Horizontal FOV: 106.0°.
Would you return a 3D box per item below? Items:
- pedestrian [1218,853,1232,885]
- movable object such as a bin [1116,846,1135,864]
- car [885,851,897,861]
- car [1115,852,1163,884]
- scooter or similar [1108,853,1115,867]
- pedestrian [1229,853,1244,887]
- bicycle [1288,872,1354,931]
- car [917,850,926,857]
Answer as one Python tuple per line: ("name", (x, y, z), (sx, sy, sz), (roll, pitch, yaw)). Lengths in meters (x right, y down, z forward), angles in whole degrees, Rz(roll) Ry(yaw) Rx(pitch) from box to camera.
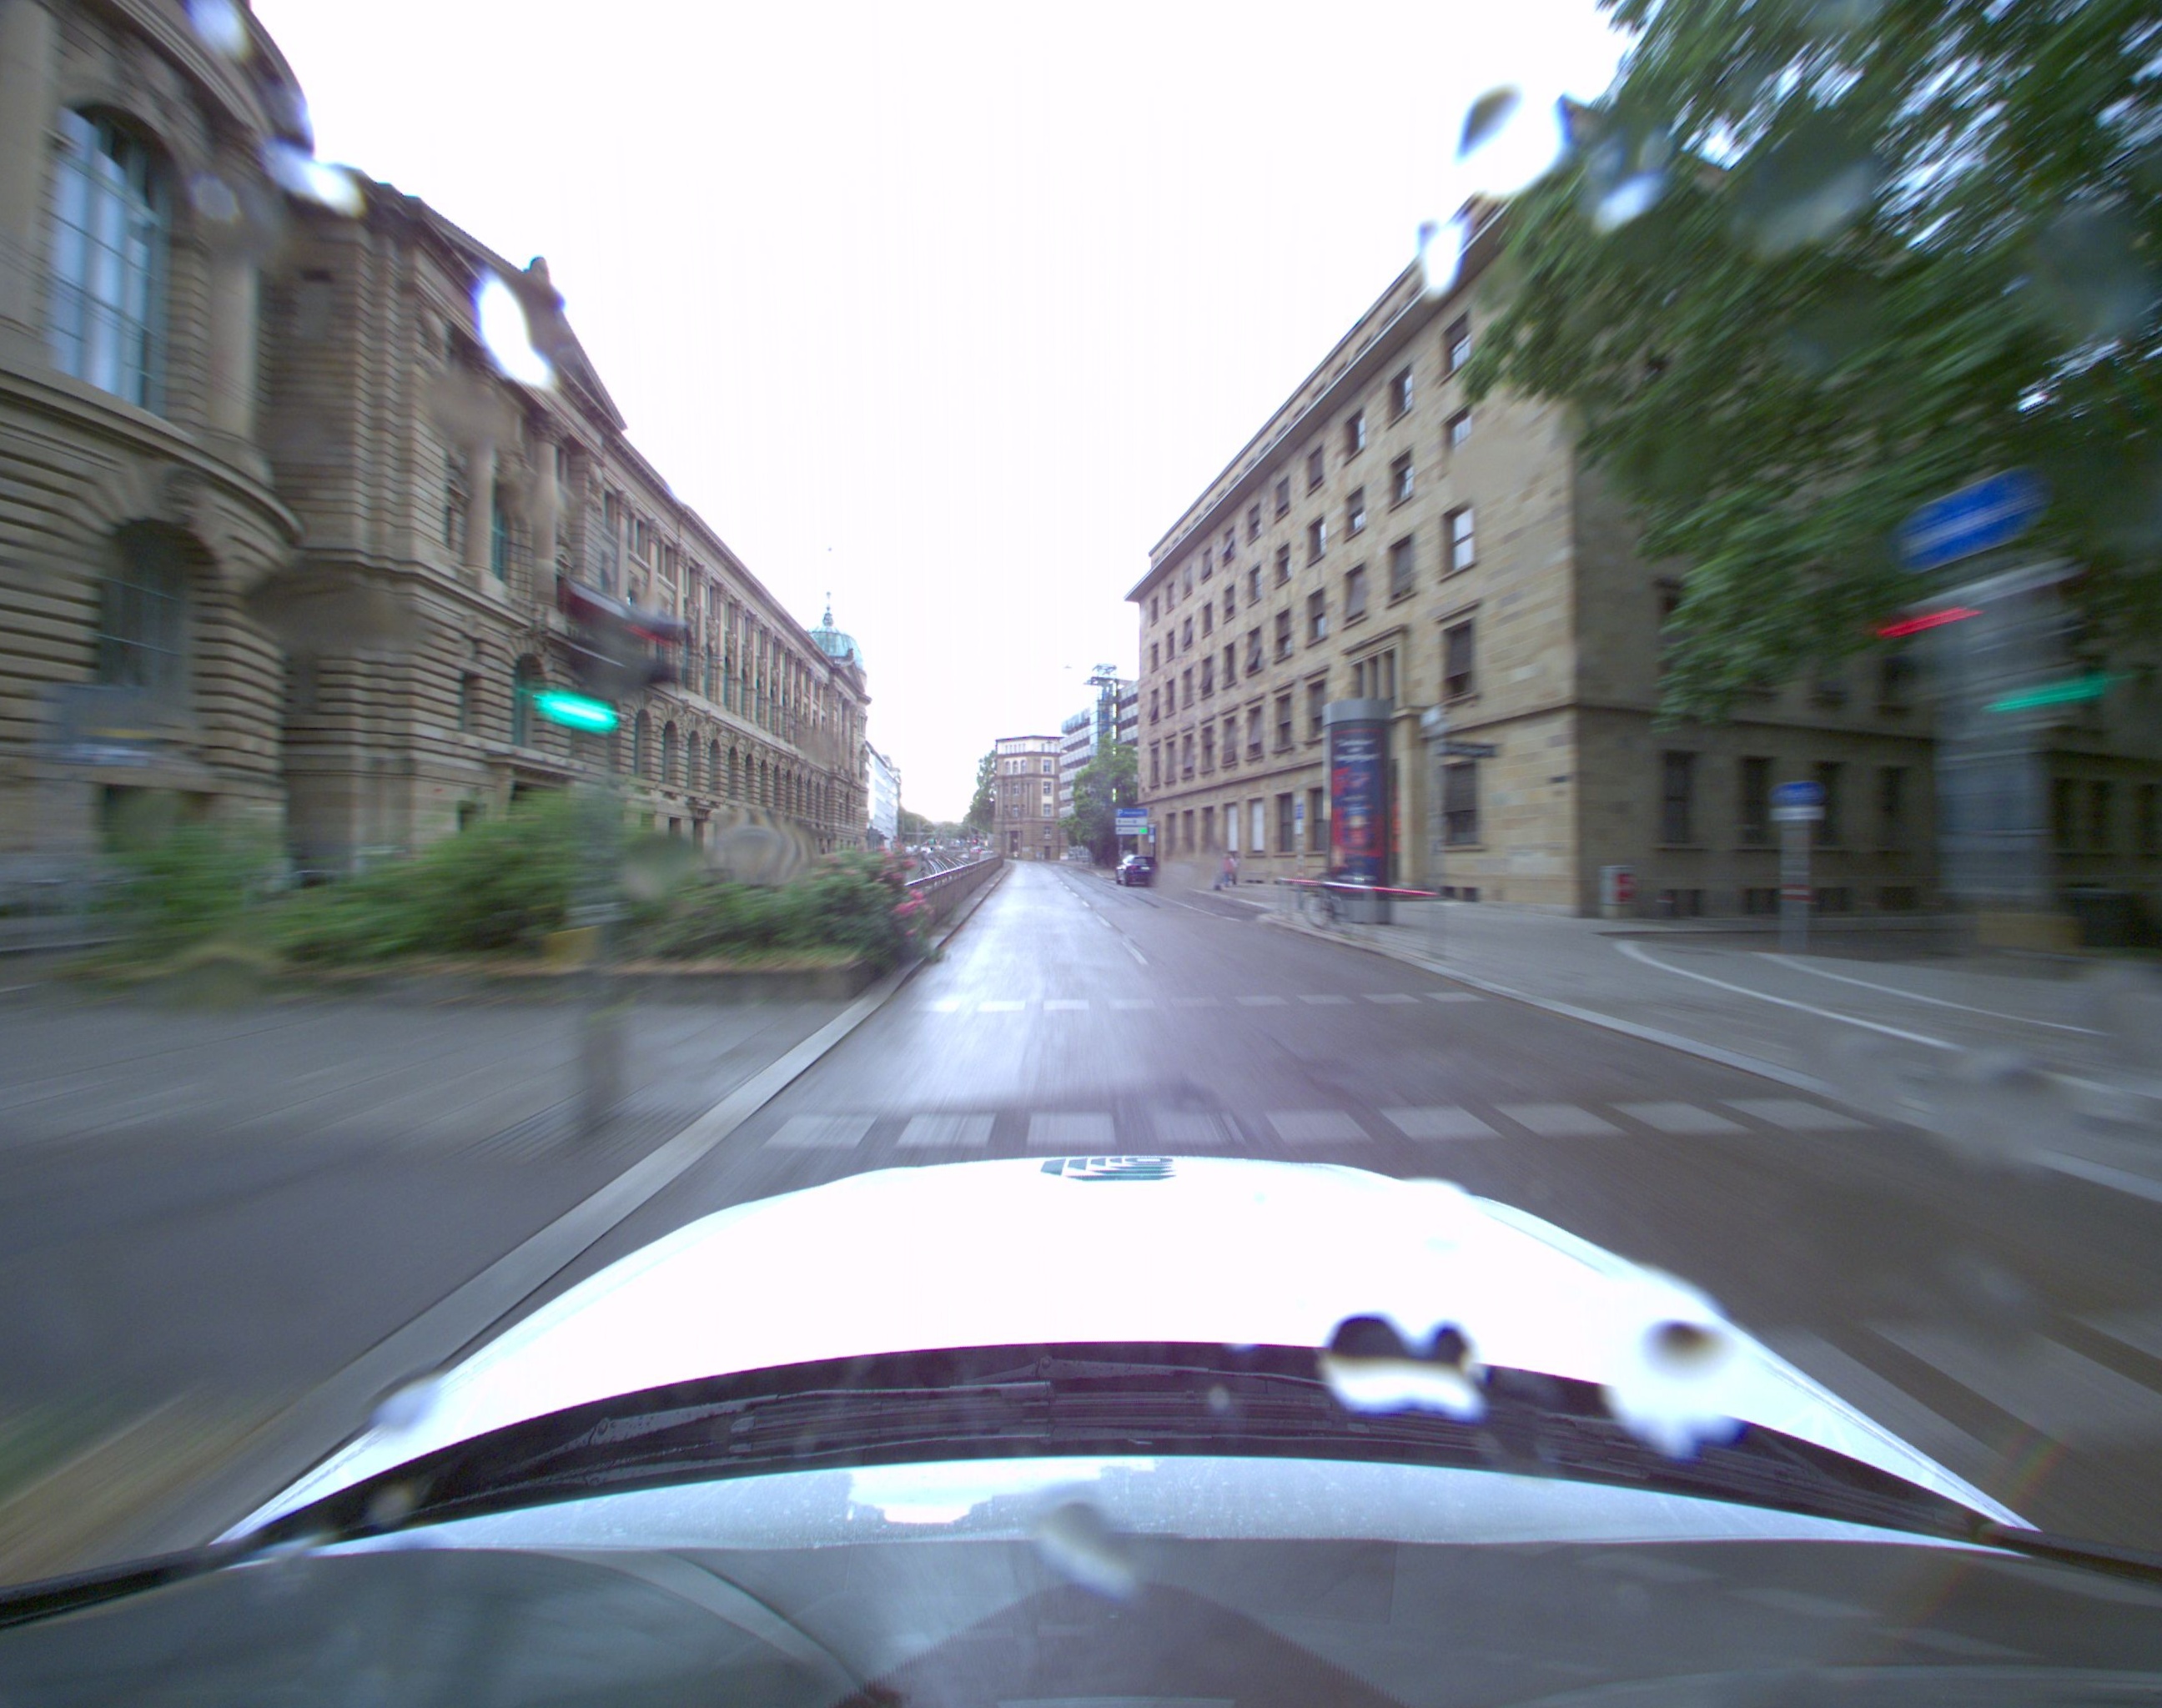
("pedestrian", (6.813, 0.698, 38.490), (0.523, 1.492, 0.673), (0, -1, -2))
("movable object such as a bin", (3.298, 0.062, 60.550), (1.237, 1.310, 1.232), (-2, 0, -4))
("car", (-36.817, 0.436, 157.694), (1.993, 1.883, 4.910), (1, 0, -10))
("car", (3.016, 0.738, 43.140), (1.766, 1.619, 4.147), (1, -1, -7))
("scooter or similar", (2.697, 0.542, 72.106), (0.446, 1.259, 1.209), (-1, 0, -5))
("pedestrian", (7.385, 0.745, 38.680), (0.523, 1.603, 0.672), (0, -1, -5))
("bicycle", (4.524, 0.873, 15.463), (0.488, 1.012, 1.923), (1, 0, -7))
("car", (-37.487, -0.195, 191.884), (1.994, 1.527, 3.650), (1, 0, -10))
